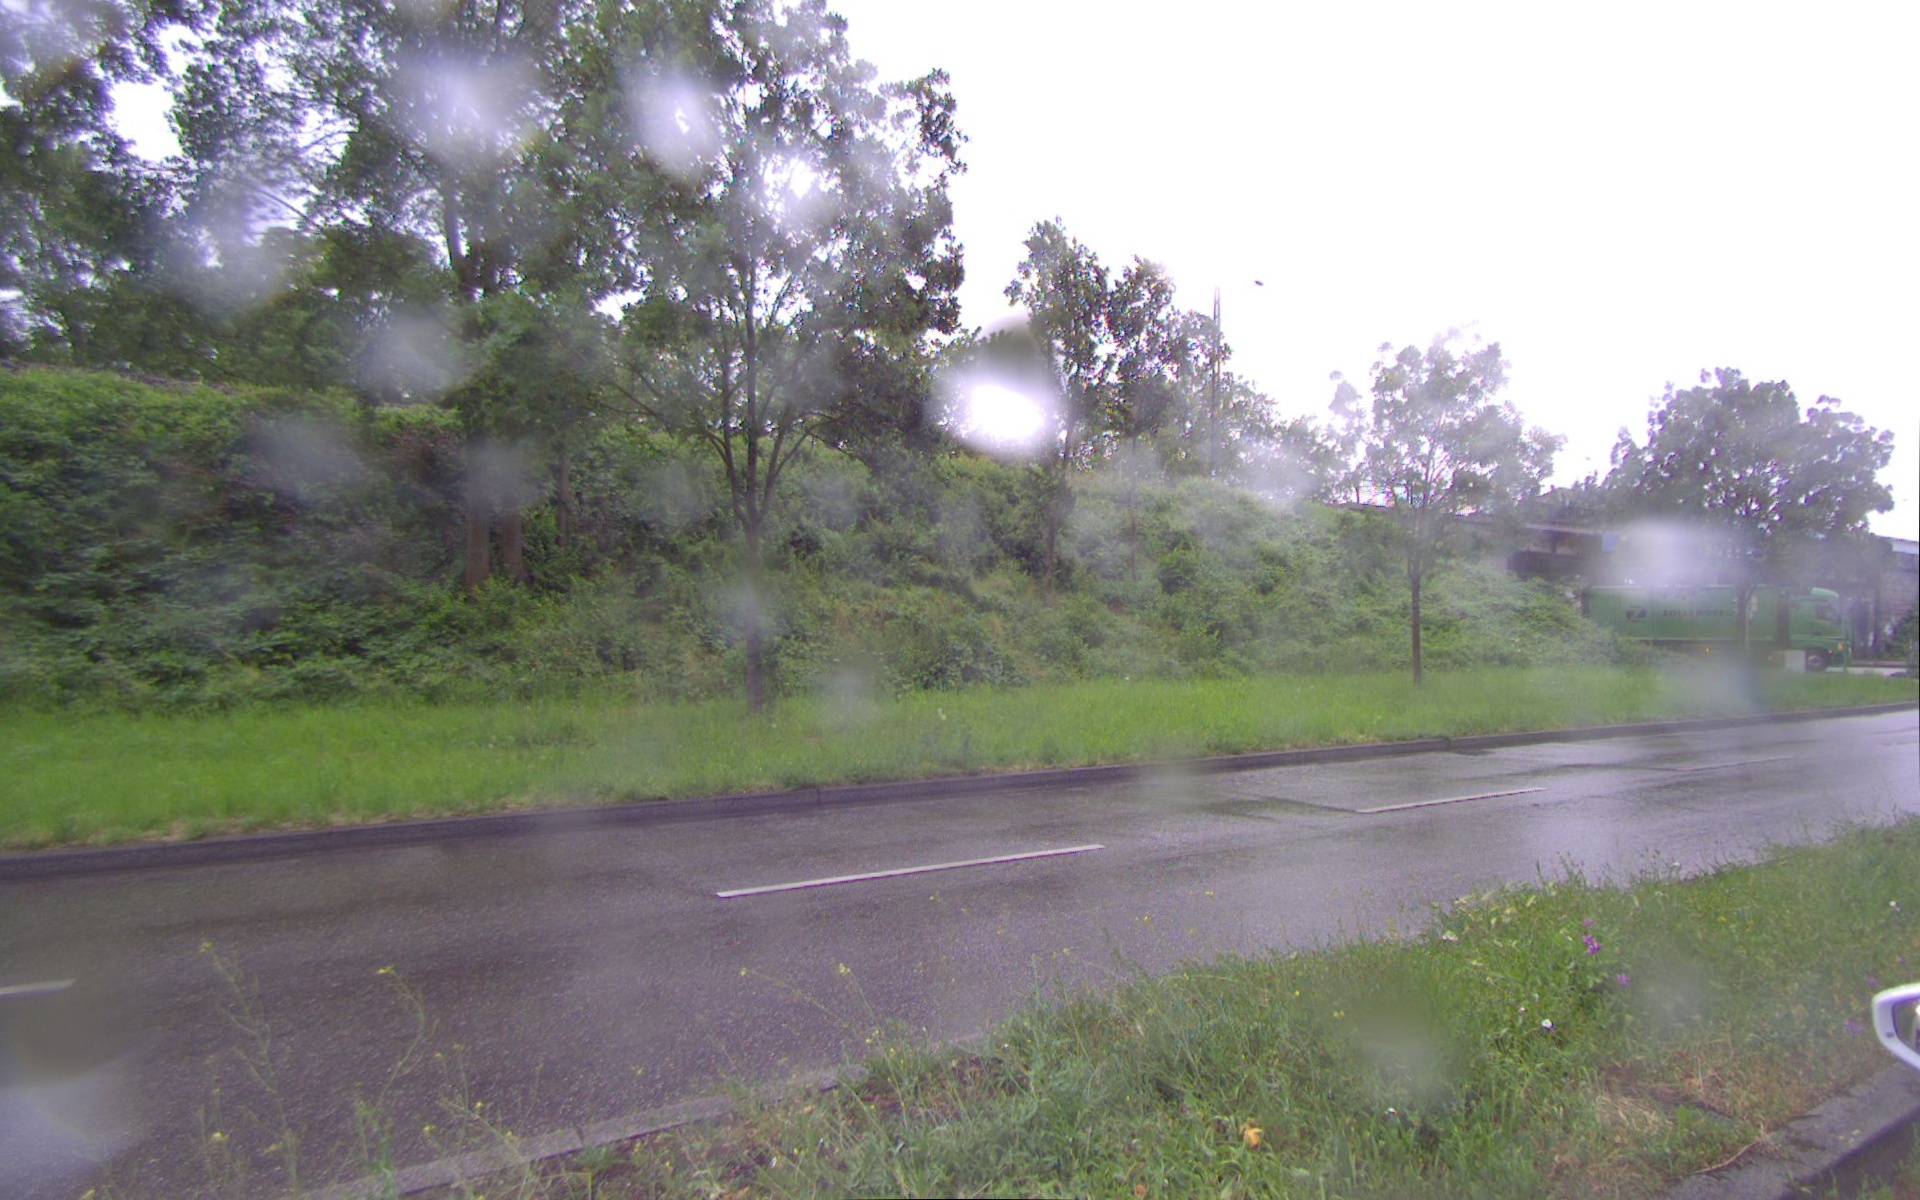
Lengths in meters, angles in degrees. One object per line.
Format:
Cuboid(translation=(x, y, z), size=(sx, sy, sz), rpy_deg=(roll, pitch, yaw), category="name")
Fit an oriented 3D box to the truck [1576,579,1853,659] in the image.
Cuboid(translation=(34.338, 0.814, 46.286), size=(9.872, 3.416, 2.346), rpy_deg=(0, -1, 25), category="truck")
